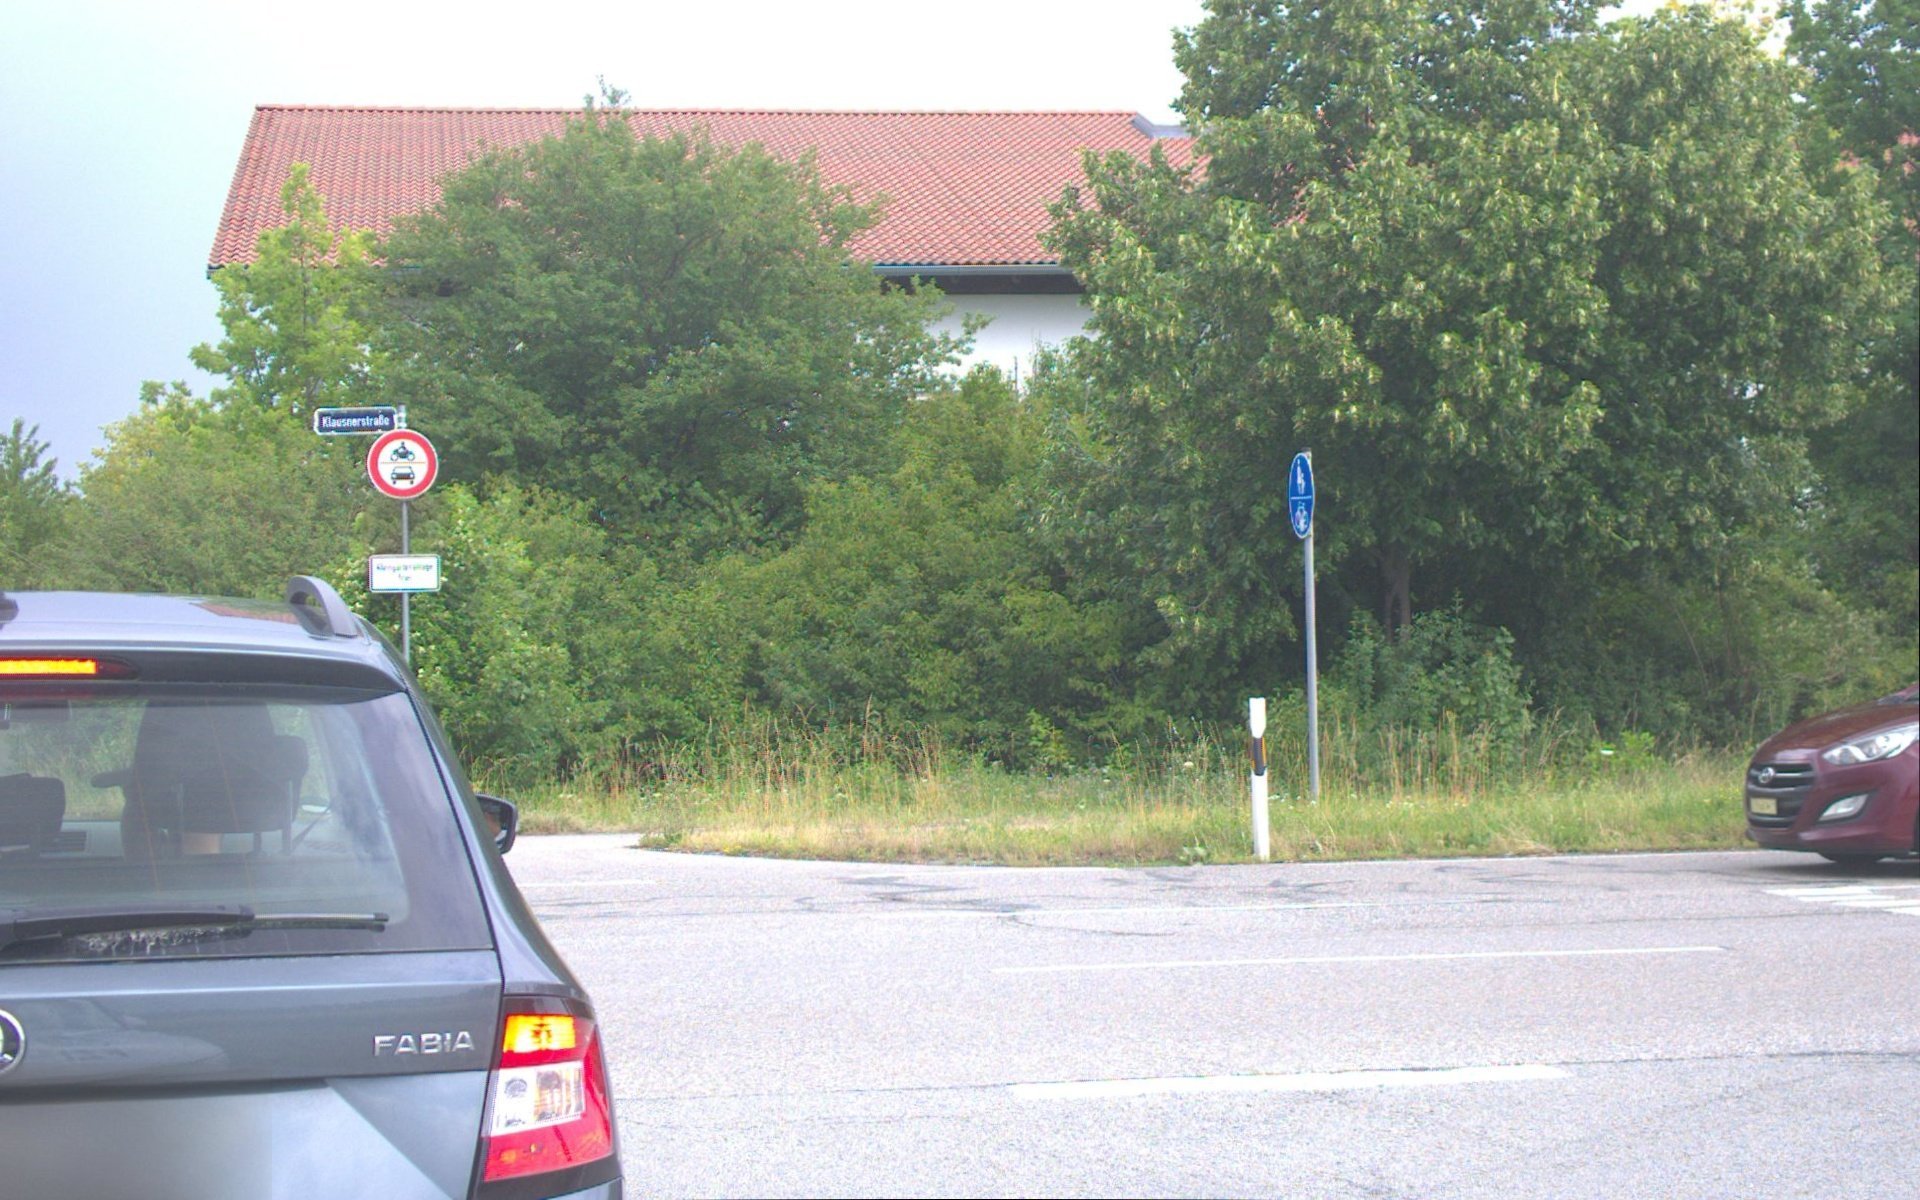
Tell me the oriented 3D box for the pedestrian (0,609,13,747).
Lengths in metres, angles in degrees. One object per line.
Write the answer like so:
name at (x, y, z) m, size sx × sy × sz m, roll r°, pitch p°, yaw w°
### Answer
pedestrian at (-12.018, 0.964, 42.026) m, size 0.584 × 1.677 × 0.565 m, roll -1°, pitch 1°, yaw 18°

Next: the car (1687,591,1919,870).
car at (6.486, 0.651, 19.485) m, size 4.146 × 1.459 × 2.000 m, roll -2°, pitch 0°, yaw -10°

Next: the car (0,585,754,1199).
car at (-1.581, 0.725, 5.431) m, size 1.676 × 1.457 × 3.709 m, roll -1°, pitch 1°, yaw -17°
